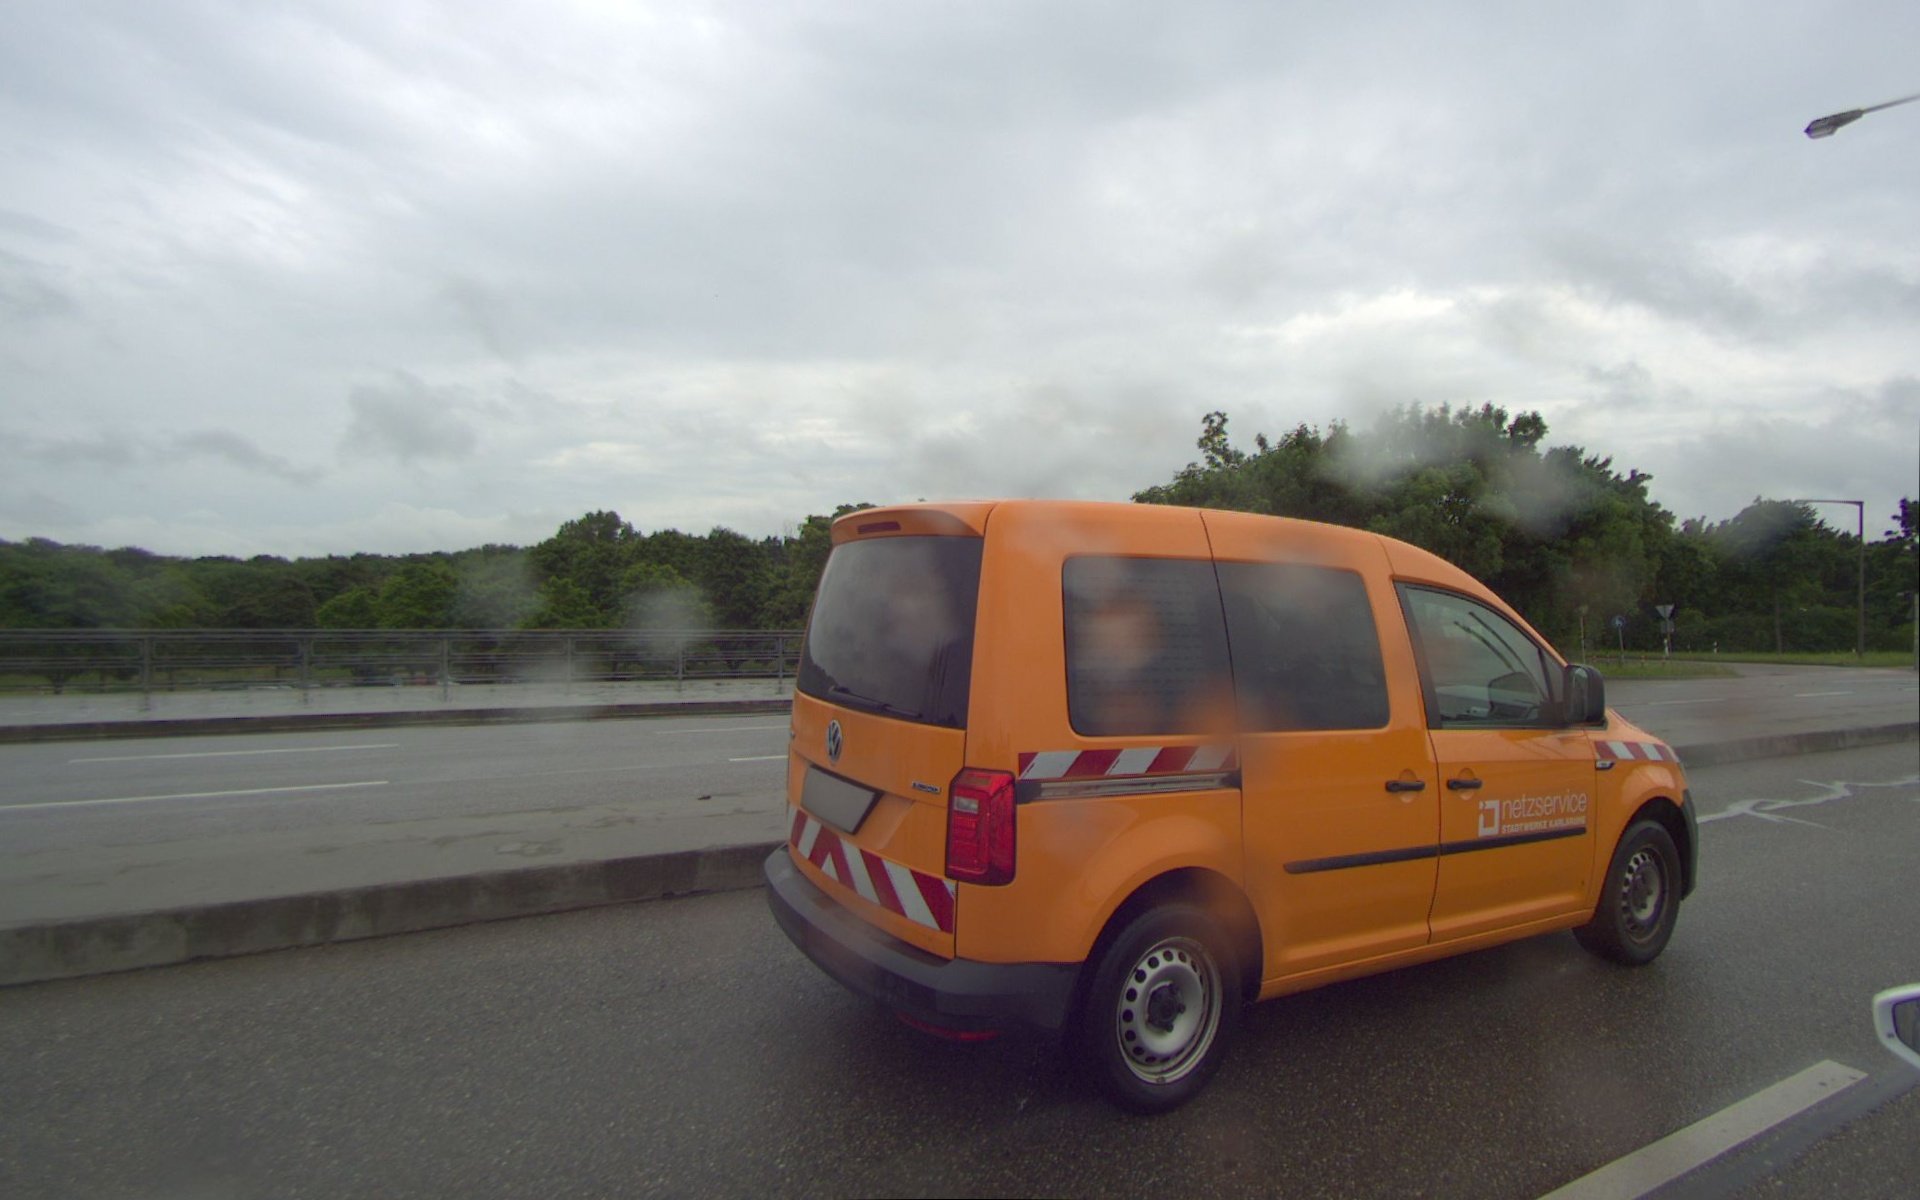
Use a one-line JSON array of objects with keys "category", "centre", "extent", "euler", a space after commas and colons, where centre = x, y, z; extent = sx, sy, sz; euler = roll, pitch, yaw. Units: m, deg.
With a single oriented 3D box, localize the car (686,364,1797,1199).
[{"category": "car", "centre": [1.469, 0.563, 4.295], "extent": [4.792, 2.045, 1.726], "euler": [2, -2, -30]}]
